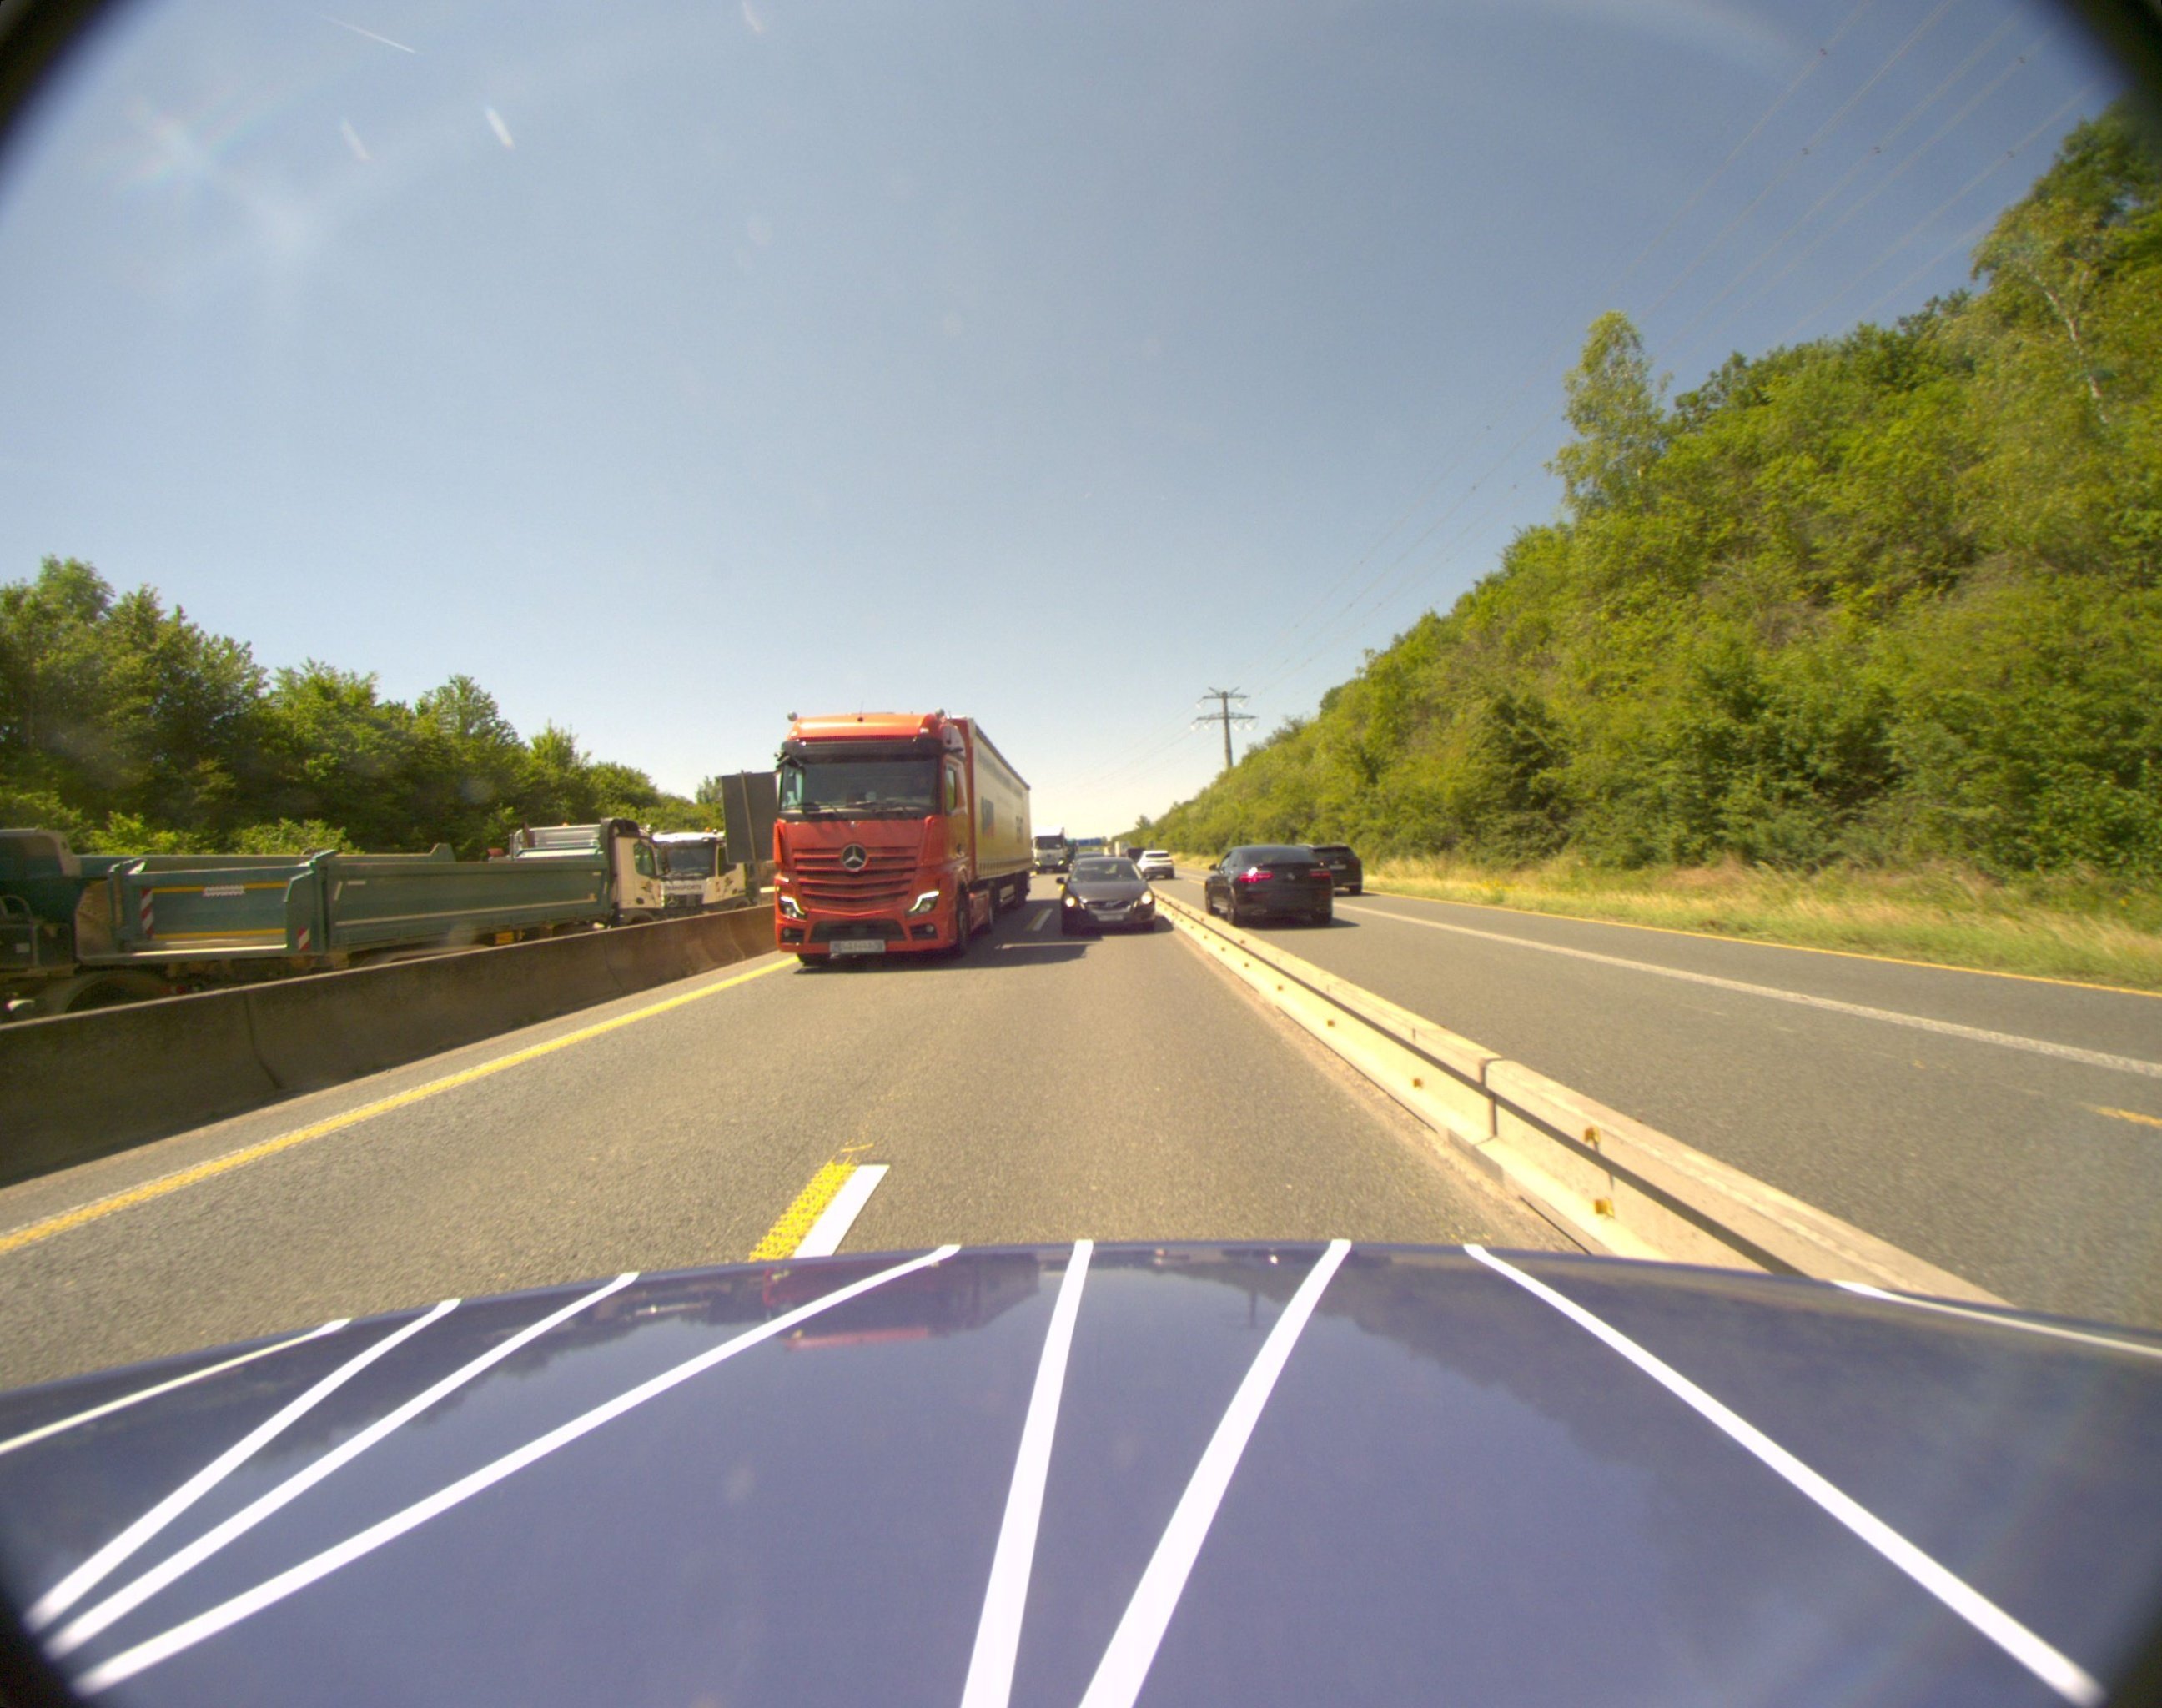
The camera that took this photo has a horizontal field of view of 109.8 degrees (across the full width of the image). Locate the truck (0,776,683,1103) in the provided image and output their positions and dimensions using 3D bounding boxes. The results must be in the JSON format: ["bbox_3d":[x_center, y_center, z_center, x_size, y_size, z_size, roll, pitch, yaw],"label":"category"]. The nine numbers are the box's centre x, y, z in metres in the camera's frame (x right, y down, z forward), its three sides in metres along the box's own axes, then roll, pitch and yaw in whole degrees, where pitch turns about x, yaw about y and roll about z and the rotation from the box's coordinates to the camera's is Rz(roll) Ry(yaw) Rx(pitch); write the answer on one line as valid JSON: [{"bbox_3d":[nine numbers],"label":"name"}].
[{"bbox_3d":[-10.836,0.929,13.244,2.545,3.536,9.601,-2,0,0],"label":"truck"}]

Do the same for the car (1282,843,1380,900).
[{"bbox_3d":[7.714,0.486,23.830,1.704,1.556,3.994,-3,0,0],"label":"car"}]

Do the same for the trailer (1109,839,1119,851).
[{"bbox_3d":[10.033,-2.812,230.602,2.657,3.317,8.918,-4,0,1],"label":"trailer"}]

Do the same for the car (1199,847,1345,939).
[{"bbox_3d":[3.781,0.692,15.922,1.848,1.524,4.671,-4,0,0],"label":"car"}]

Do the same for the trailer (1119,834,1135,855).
[{"bbox_3d":[9.713,-2.026,161.512,2.644,4.287,8.447,-3,0,0],"label":"trailer"}]

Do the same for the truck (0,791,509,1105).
[{"bbox_3d":[-13.560,1.099,11.243,2.694,3.536,9.602,-2,0,0],"label":"truck"}]

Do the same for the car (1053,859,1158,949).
[{"bbox_3d":[0.470,0.878,15.416,1.767,1.411,4.698,-2,1,1],"label":"car"}]

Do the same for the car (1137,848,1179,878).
[{"bbox_3d":[4.276,0.481,43.052,1.848,1.524,4.671,-4,0,0],"label":"car"}]

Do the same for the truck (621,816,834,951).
[{"bbox_3d":[-10.863,0.762,24.694,2.539,3.490,8.943,-2,0,0],"label":"truck"}]

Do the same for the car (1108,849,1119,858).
[{"bbox_3d":[6.006,-0.110,140.687,1.717,1.417,4.169,-3,1,0],"label":"car"}]

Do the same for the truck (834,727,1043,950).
[{"bbox_3d":[-2.952,-0.365,20.564,2.689,3.987,13.218,-3,1,1],"label":"truck"}]

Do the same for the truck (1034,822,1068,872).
[{"bbox_3d":[-2.569,-0.612,68.903,2.481,4.030,13.109,-2,0,0],"label":"truck"}]

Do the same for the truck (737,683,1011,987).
[{"bbox_3d":[-3.106,-0.292,13.626,2.689,3.987,6.725,-3,1,2],"label":"truck"}]

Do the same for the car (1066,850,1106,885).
[{"bbox_3d":[0.262,0.603,37.283,1.767,1.523,4.698,-3,1,1],"label":"car"}]

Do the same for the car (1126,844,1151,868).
[{"bbox_3d":[5.038,0.152,67.276,1.895,2.002,4.817,-3,0,1],"label":"car"}]
